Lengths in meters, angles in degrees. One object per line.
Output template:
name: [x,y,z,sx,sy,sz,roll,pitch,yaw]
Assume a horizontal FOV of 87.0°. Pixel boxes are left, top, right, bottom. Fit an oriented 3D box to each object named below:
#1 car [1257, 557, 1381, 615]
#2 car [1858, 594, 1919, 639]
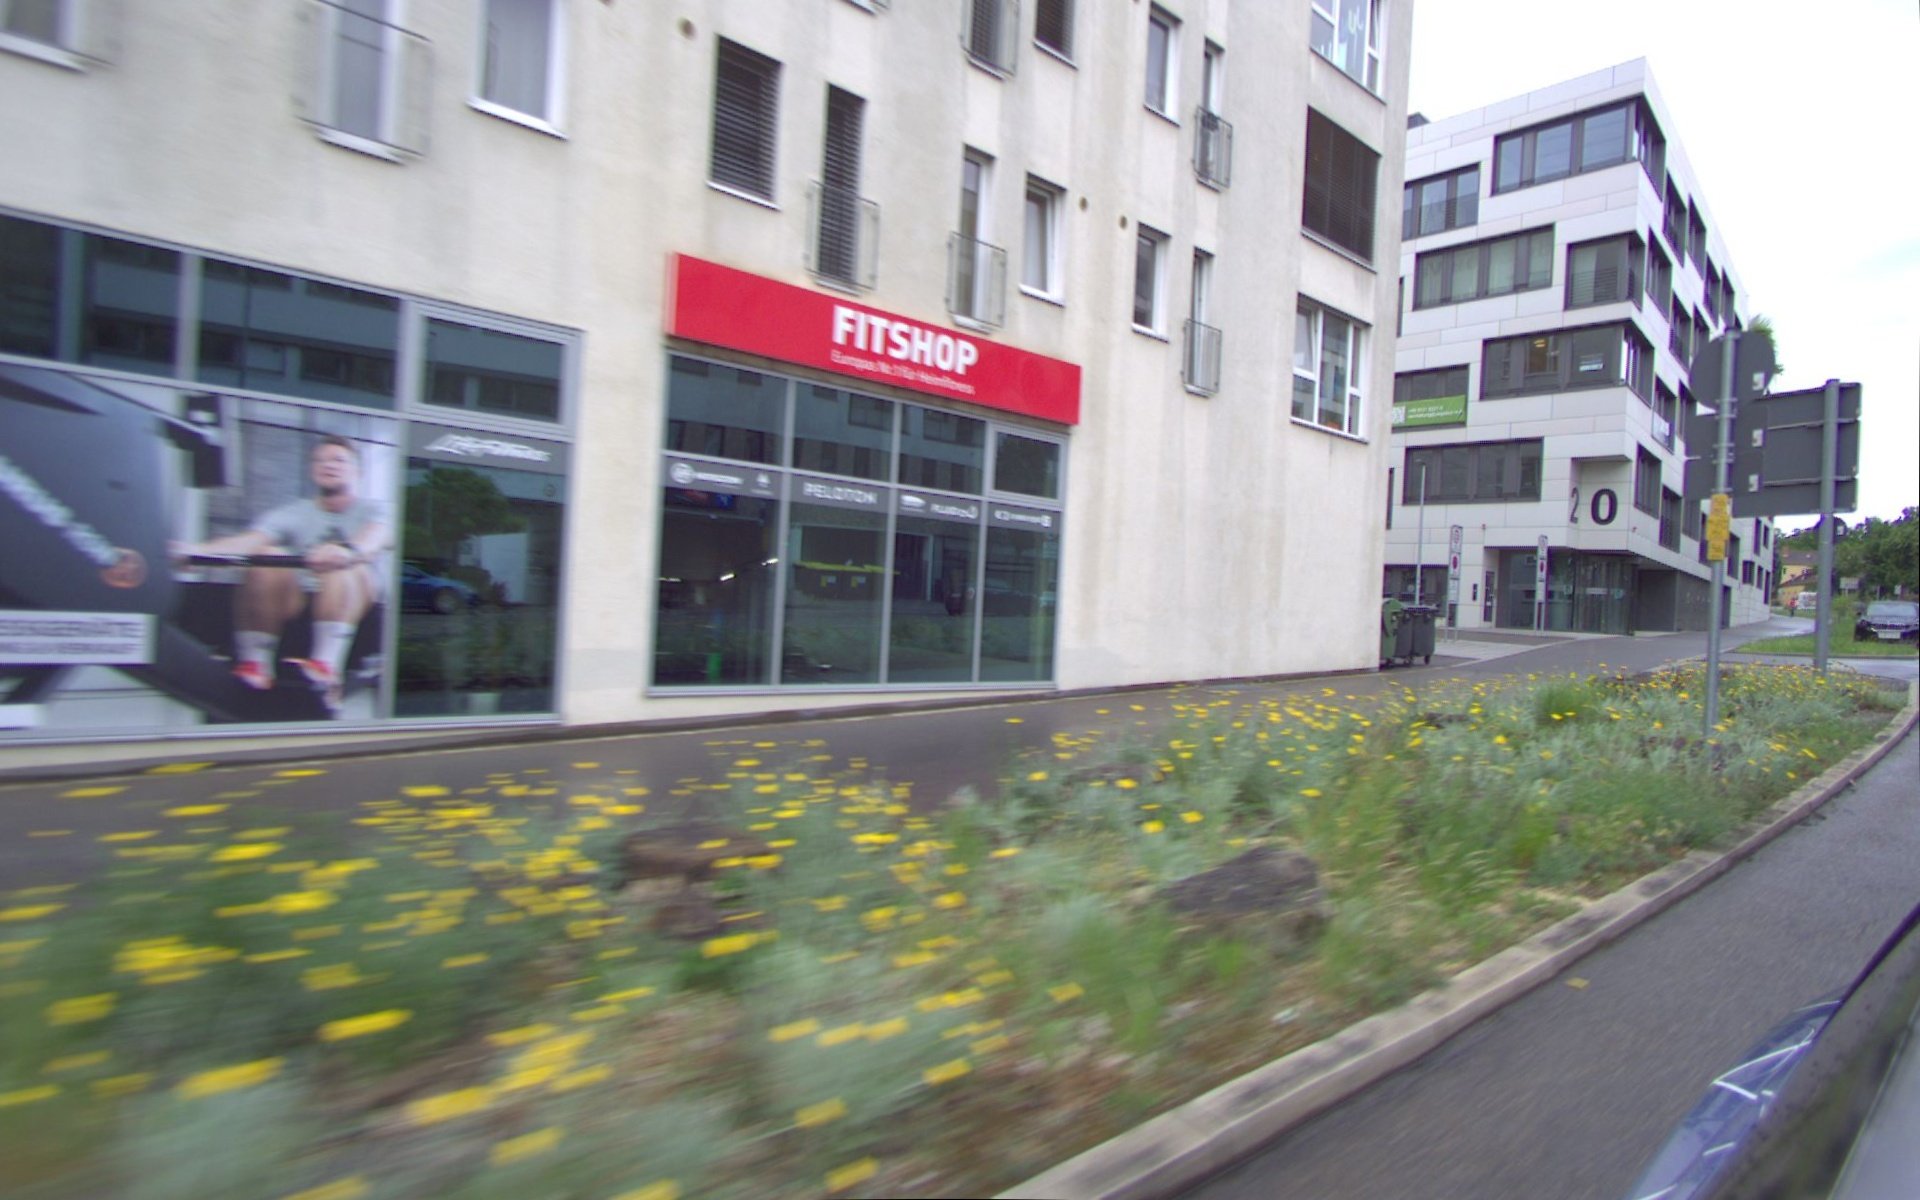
car: [13.710,-0.567,38.784,1.964,2.038,3.997,1,2,-39]
car: [33.396,0.541,35.794,3.931,1.505,1.997,0,1,-41]
